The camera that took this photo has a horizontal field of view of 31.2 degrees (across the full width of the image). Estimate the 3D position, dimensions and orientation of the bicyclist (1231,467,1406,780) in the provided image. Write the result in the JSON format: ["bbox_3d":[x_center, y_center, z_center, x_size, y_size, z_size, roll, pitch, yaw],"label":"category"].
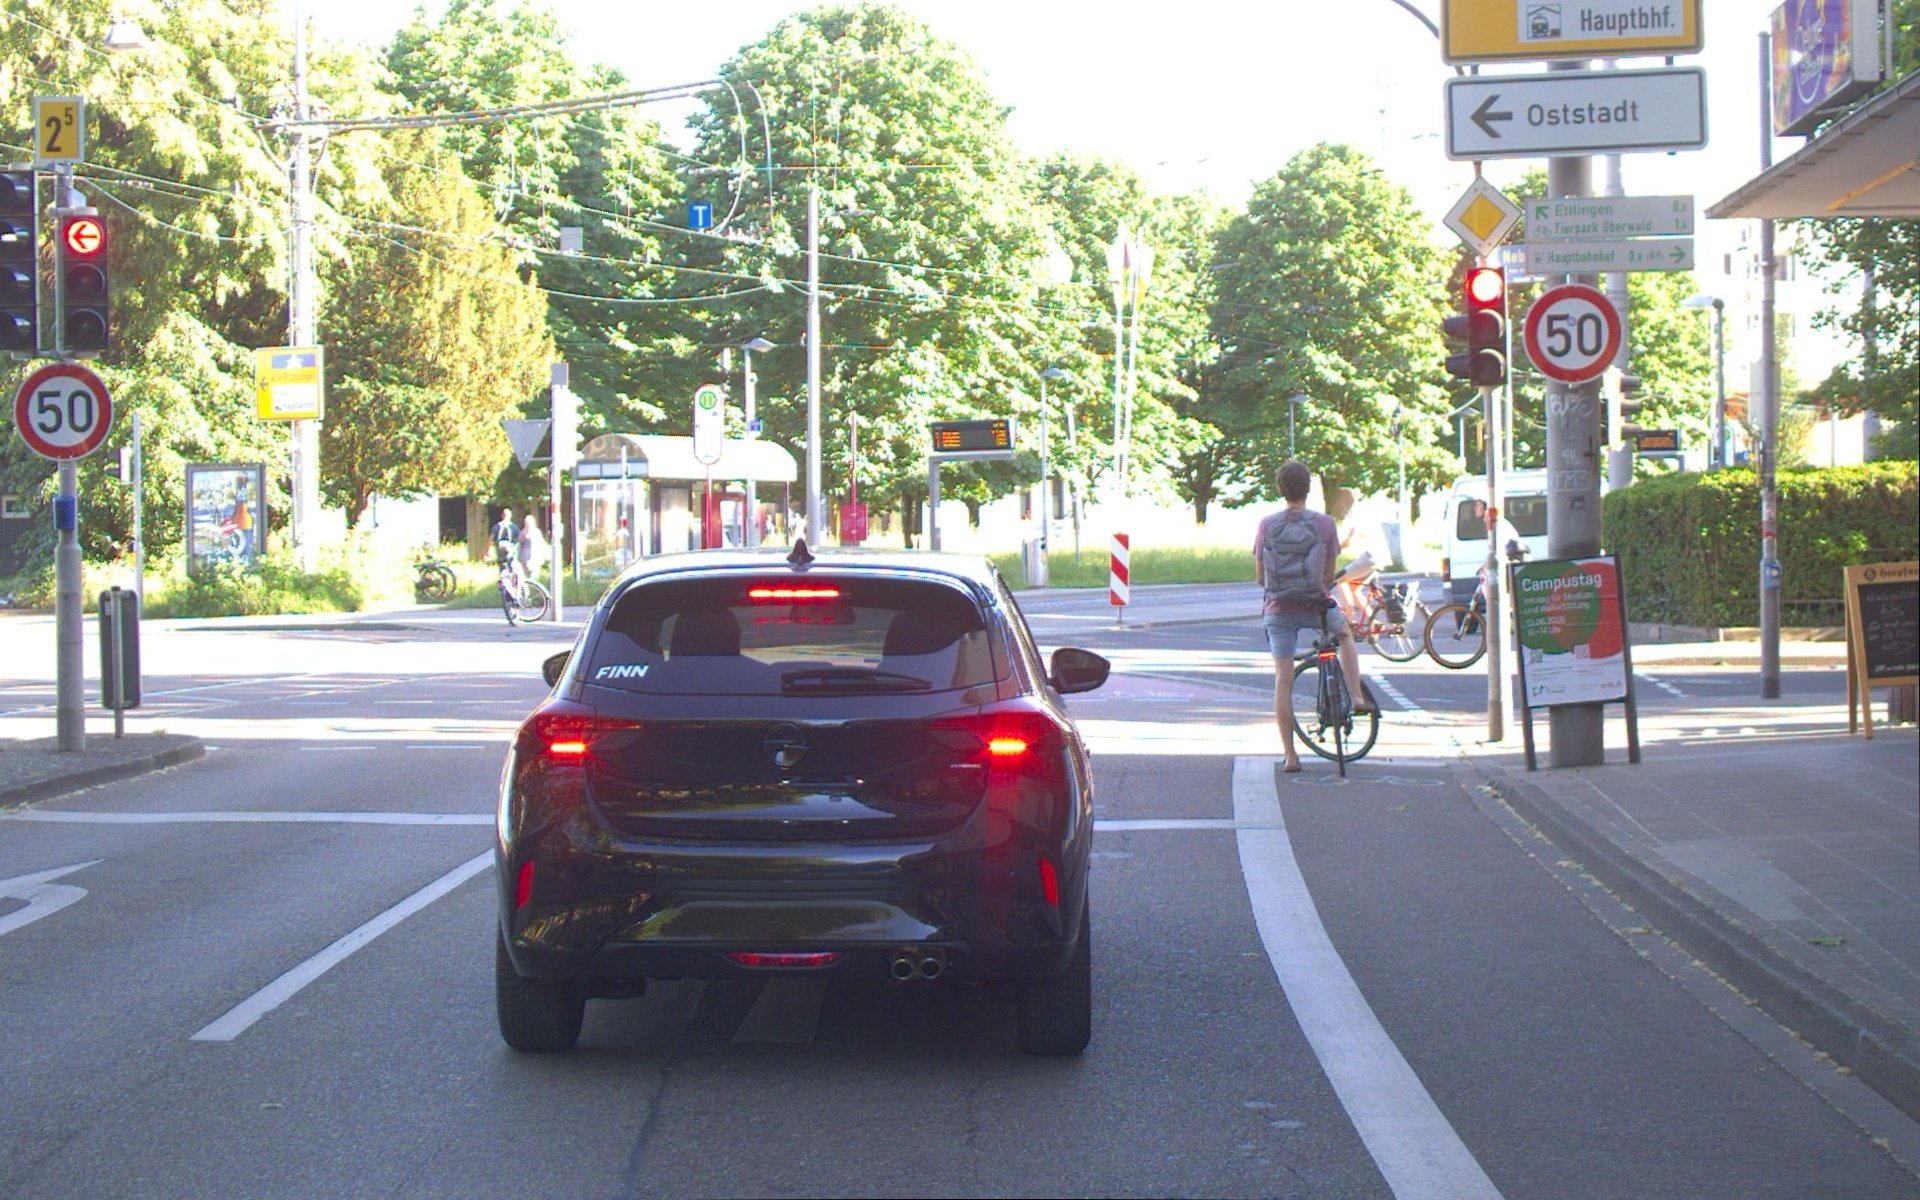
[{"bbox_3d":[2.156,0.129,20.755,0.941,1.845,0.864,-1,1,-1],"label":"bicyclist"}]

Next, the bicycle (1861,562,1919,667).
[{"bbox_3d":[10.569,0.146,36.239,2.056,1.090,0.592,0,1,14],"label":"bicycle"}]

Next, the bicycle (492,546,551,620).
[{"bbox_3d":[-6.298,-0.255,49.460,0.605,1.028,1.982,0,1,0],"label":"bicycle"}]

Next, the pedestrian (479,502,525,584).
[{"bbox_3d":[-9.247,-1.141,69.369,0.751,1.624,0.597,2,0,7],"label":"pedestrian"}]

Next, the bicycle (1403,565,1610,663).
[{"bbox_3d":[5.597,0.140,35.188,2.059,0.980,0.672,0,1,11],"label":"bicycle"}]

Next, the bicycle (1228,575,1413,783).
[{"bbox_3d":[2.159,0.447,20.852,0.860,1.149,2.172,-1,1,-1],"label":"bicycle"}]

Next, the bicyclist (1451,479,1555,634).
[{"bbox_3d":[5.557,-0.444,35.156,1.010,1.565,0.799,0,1,11],"label":"bicyclist"}]

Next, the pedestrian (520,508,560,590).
[{"bbox_3d":[-8.454,-1.019,69.178,0.636,1.624,0.572,2,0,7],"label":"pedestrian"}]

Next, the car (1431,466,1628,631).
[{"bbox_3d":[8.230,-0.765,49.357,2.065,2.241,4.883,0,1,18],"label":"car"}]

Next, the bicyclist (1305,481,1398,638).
[{"bbox_3d":[4.304,-0.446,37.793,0.927,1.701,0.875,0,1,12],"label":"bicyclist"}]

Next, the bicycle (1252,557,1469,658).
[{"bbox_3d":[4.410,0.082,37.786,2.294,1.080,0.800,0,1,13],"label":"bicycle"}]

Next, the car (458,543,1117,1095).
[{"bbox_3d":[-0.459,0.545,11.173,1.727,1.424,4.187,1,1,0],"label":"car"}]
